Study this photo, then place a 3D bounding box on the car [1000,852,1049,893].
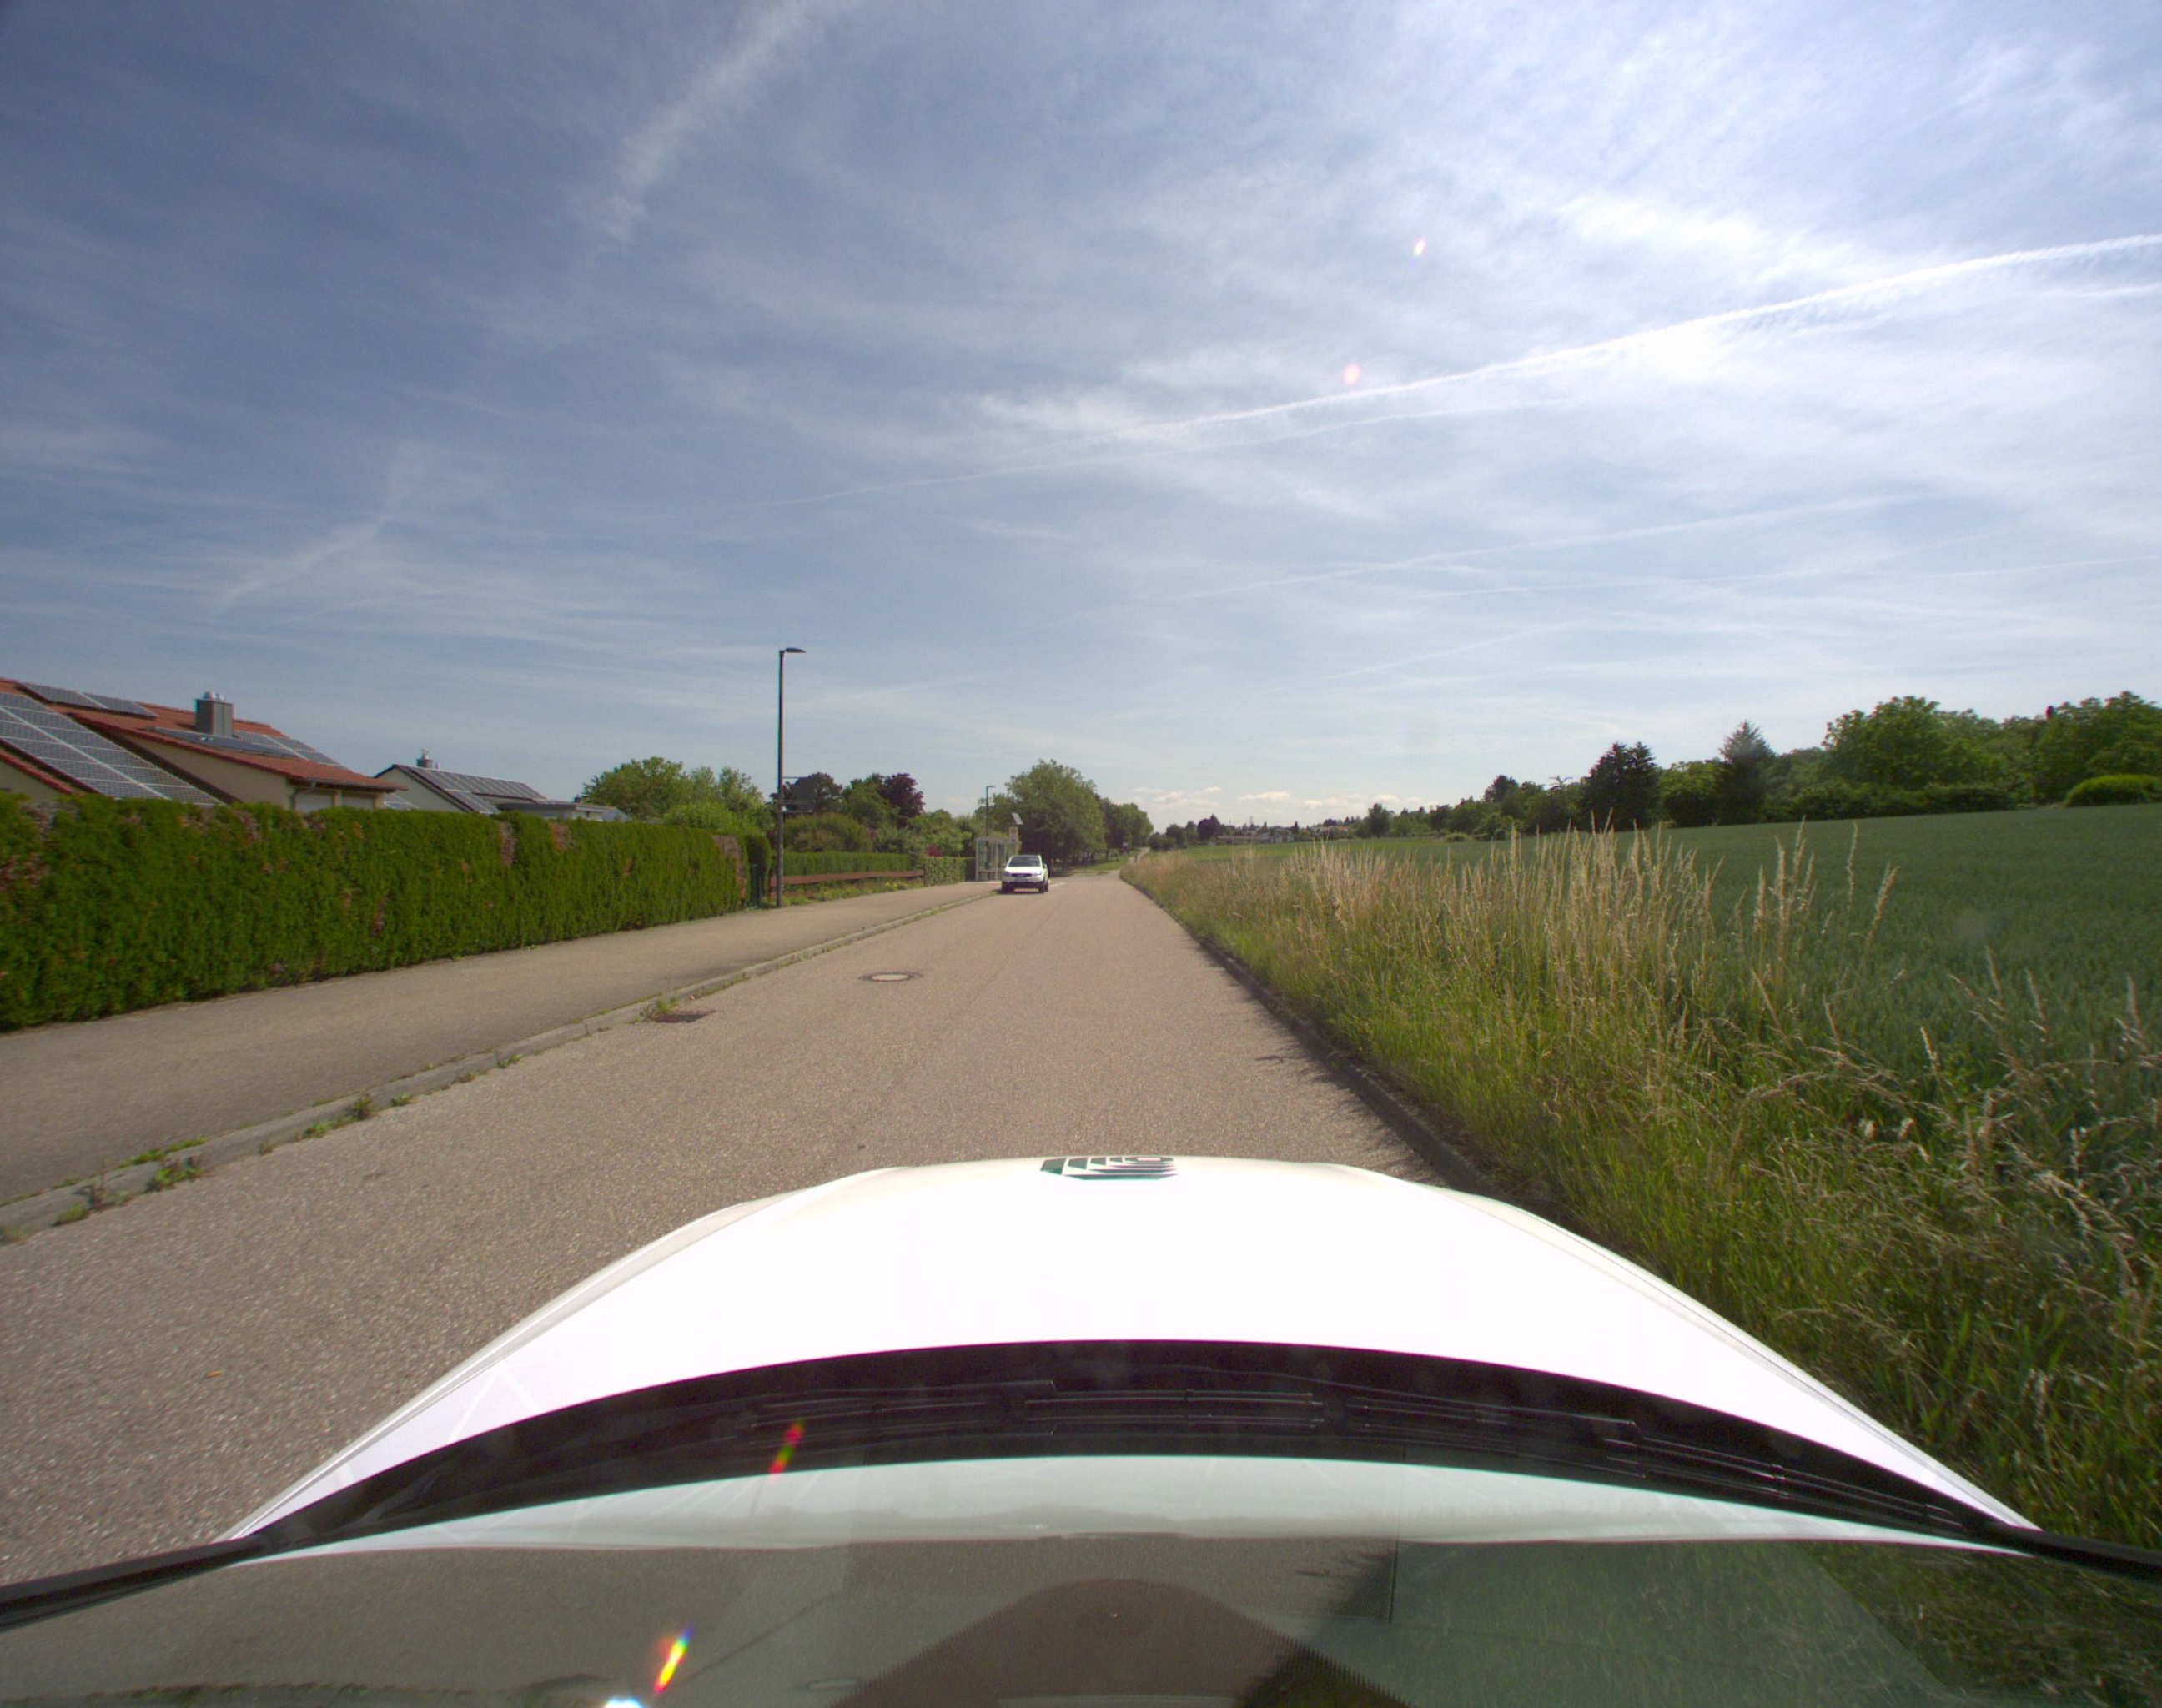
[{"bbox_3d":[-2.388,0.783,35.151,1.728,1.633,4.352,0,-1,1],"label":"car"}]
